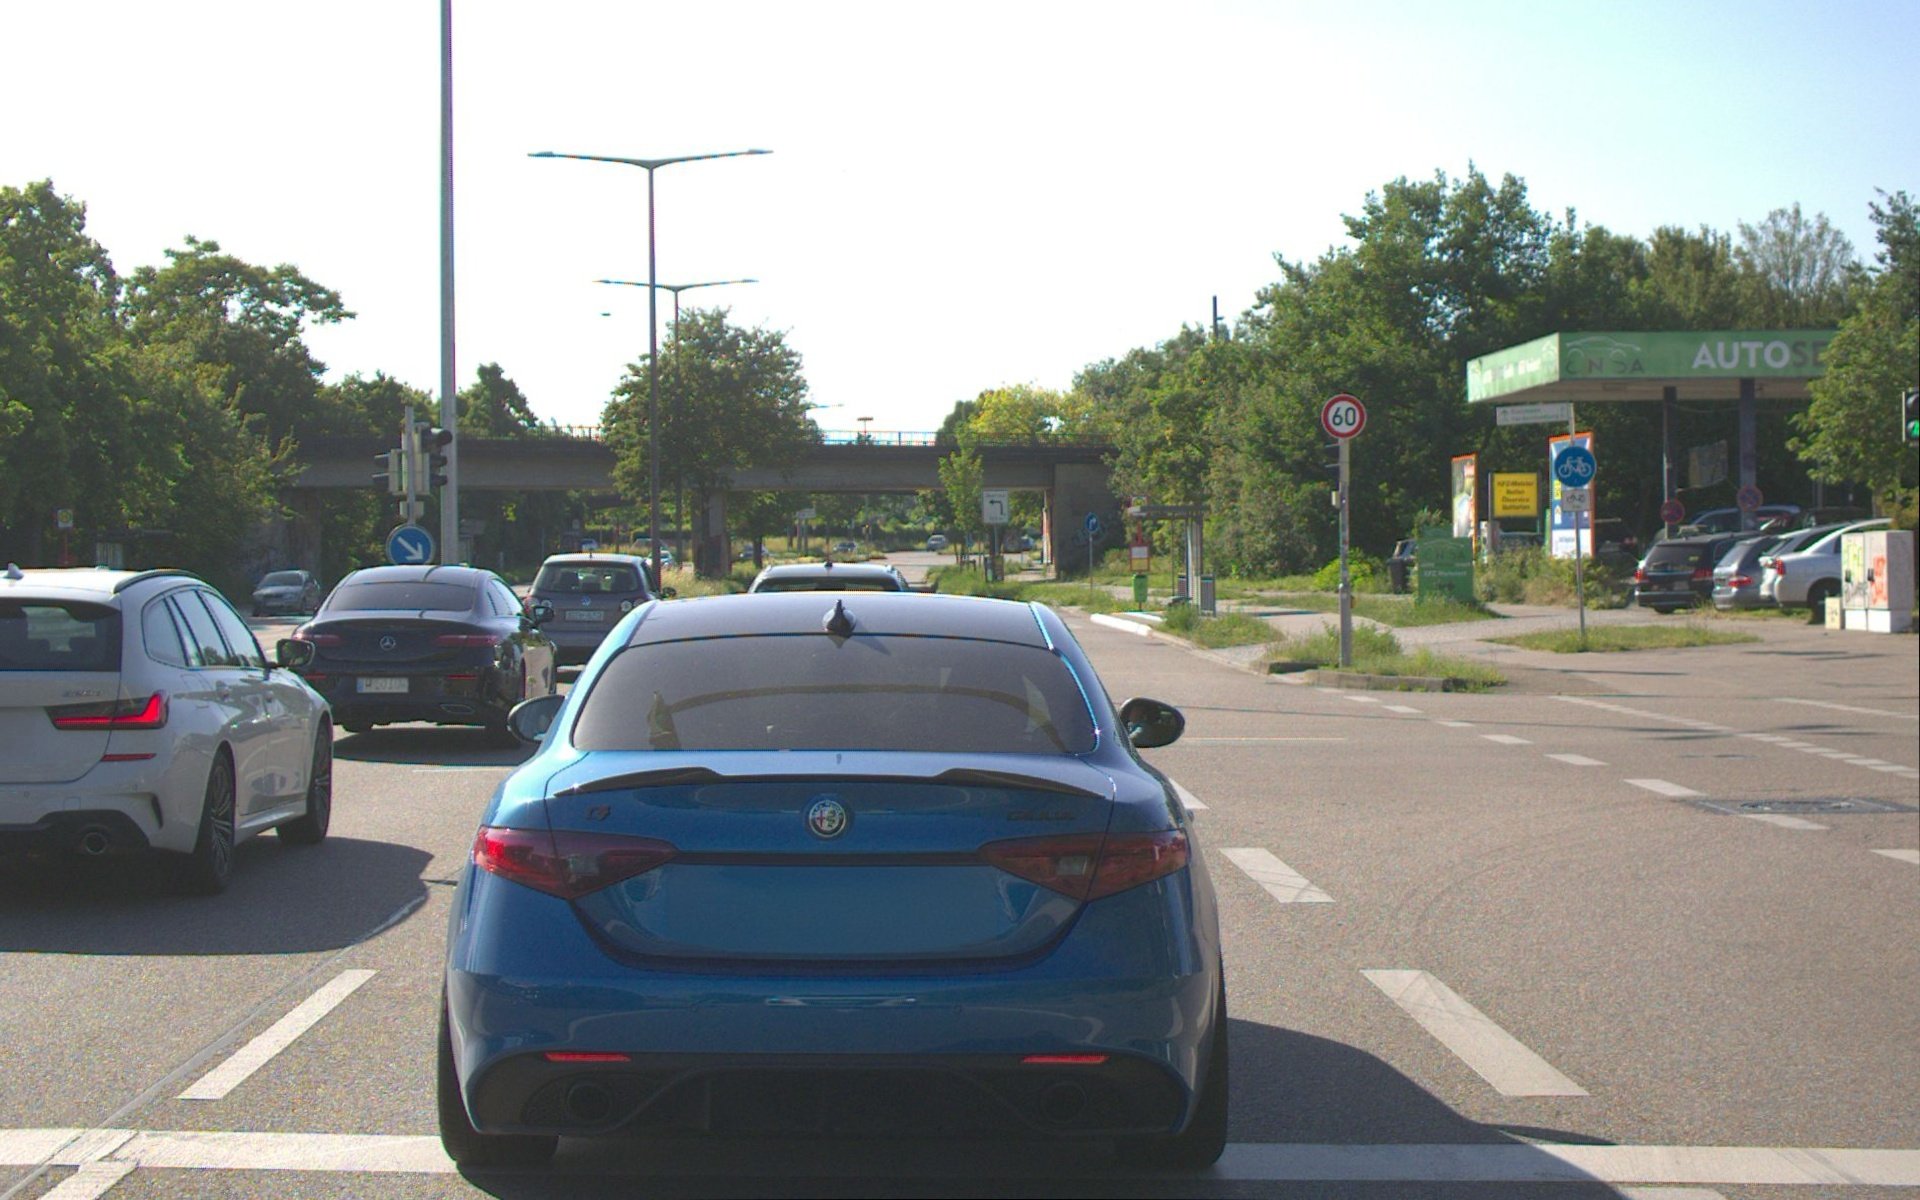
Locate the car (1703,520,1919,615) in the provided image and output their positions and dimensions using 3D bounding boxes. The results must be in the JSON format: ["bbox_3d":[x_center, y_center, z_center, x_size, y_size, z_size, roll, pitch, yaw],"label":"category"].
[{"bbox_3d":[14.941,-0.572,57.715,4.489,1.449,1.858,-2,0,1],"label":"car"}]

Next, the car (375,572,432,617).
[{"bbox_3d":[-21.159,-0.213,130.814,1.609,1.641,3.463,1,0,-1],"label":"car"}]

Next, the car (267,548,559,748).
[{"bbox_3d":[-4.380,0.357,28.143,1.796,1.485,4.476,1,0,-2],"label":"car"}]

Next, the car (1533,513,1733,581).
[{"bbox_3d":[16.600,-1.293,84.941,4.551,1.485,1.765,-2,0,1],"label":"car"}]

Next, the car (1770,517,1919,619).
[{"bbox_3d":[14.755,-0.539,52.083,4.489,1.449,1.858,-2,0,1],"label":"car"}]

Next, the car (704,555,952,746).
[{"bbox_3d":[-1.070,0.375,28.141,1.850,1.413,4.403,1,0,-2],"label":"car"}]

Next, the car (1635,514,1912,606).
[{"bbox_3d":[14.518,-0.719,61.522,4.489,1.449,1.858,-2,0,1],"label":"car"}]

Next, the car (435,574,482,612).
[{"bbox_3d":[-22.259,-0.317,152.738,1.609,1.641,3.463,1,0,-1],"label":"car"}]

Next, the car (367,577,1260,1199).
[{"bbox_3d":[-0.383,0.665,9.575,1.895,1.413,4.403,1,0,-2],"label":"car"}]

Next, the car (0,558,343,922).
[{"bbox_3d":[-4.156,0.563,16.314,1.785,1.485,4.403,1,0,-2],"label":"car"}]

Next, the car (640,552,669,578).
[{"bbox_3d":[-19.927,-2.275,224.153,1.571,1.612,4.000,1,0,-1],"label":"car"}]

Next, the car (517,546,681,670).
[{"bbox_3d":[-4.574,0.089,44.048,1.759,1.485,4.403,1,0,-2],"label":"car"}]

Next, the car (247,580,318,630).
[{"bbox_3d":[-21.516,0.158,109.266,1.615,1.554,3.358,1,0,-1],"label":"car"}]

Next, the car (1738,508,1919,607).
[{"bbox_3d":[14.861,-0.715,54.763,4.489,1.449,1.858,-2,0,1],"label":"car"}]

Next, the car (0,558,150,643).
[{"bbox_3d":[-18.034,-0.007,70.060,1.988,1.624,4.478,-2,0,-1],"label":"car"}]
